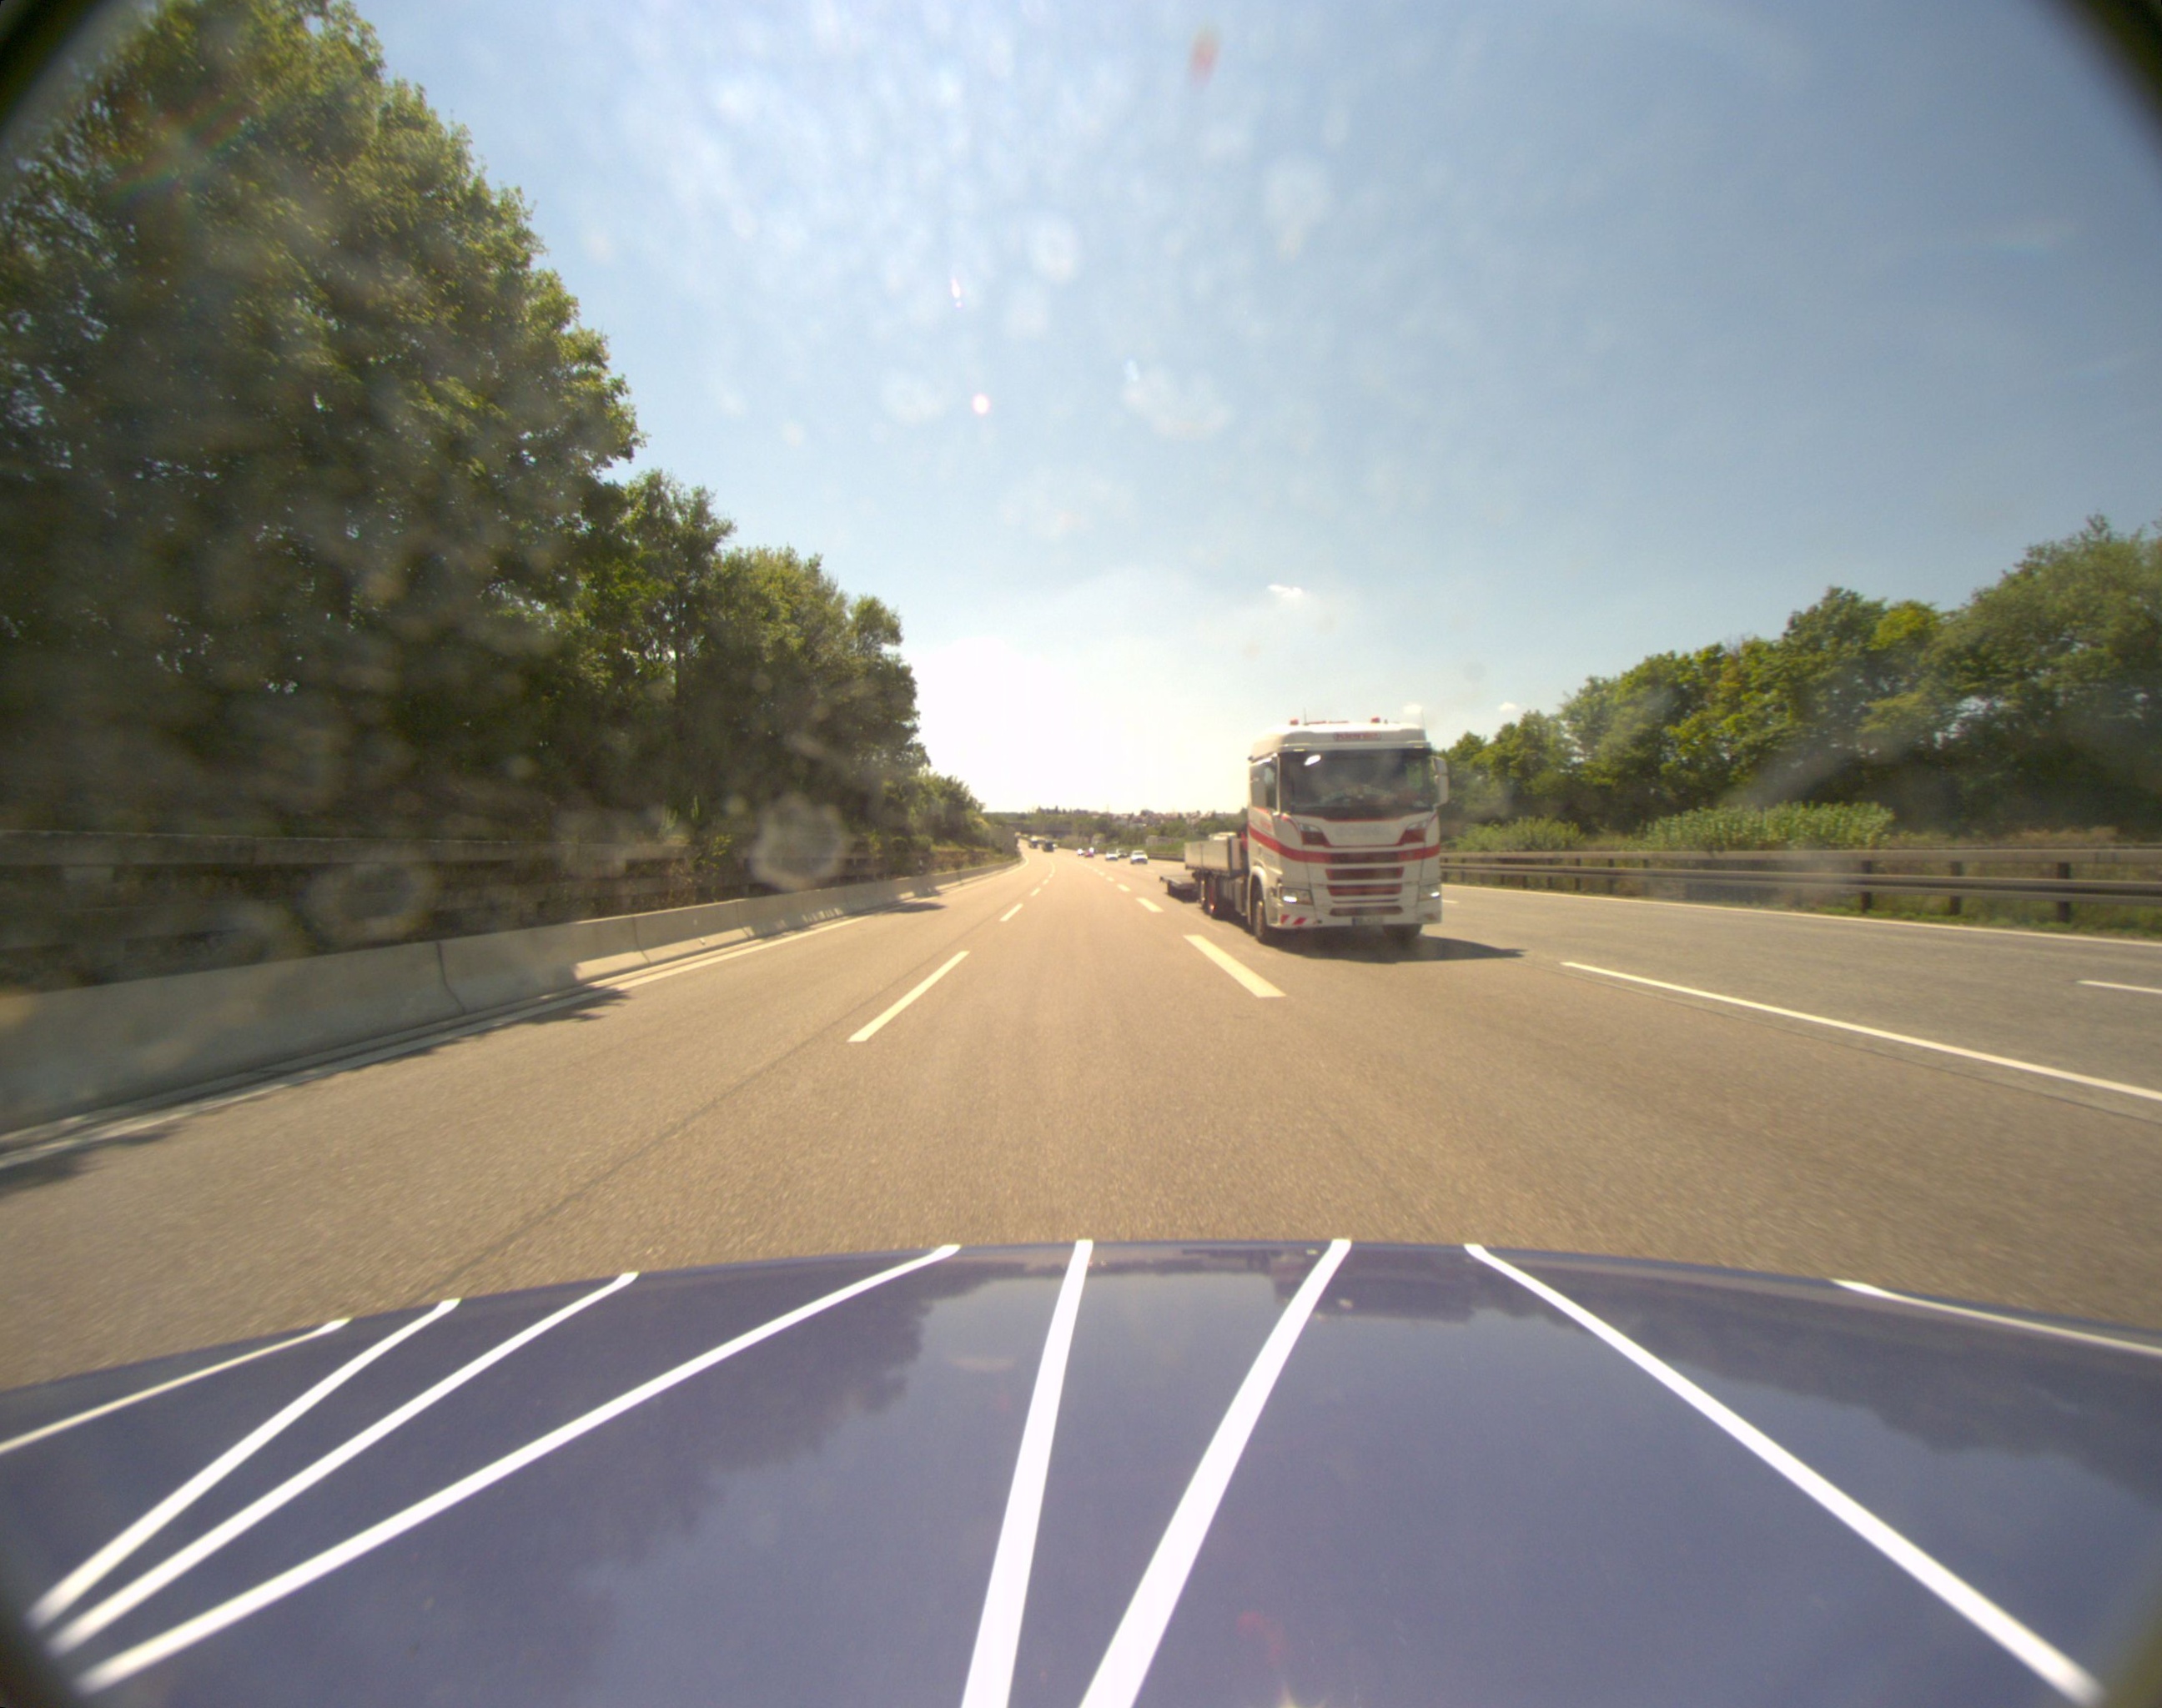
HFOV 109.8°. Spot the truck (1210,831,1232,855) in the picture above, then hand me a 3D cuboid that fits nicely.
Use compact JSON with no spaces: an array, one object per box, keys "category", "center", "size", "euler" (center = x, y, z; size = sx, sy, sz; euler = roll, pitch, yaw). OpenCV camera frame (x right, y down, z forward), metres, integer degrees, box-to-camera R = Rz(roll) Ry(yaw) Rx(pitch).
[{"category":"truck","center":[24.019,-1.864,130.542],"size":[2.702,3.866,5.744],"euler":[-2,1,-1]}]

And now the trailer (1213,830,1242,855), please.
[{"category":"trailer","center":[24.064,-1.916,125.223],"size":[2.697,3.866,9.732],"euler":[-2,0,-1]}]

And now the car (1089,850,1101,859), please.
[{"category":"car","center":[2.930,0.093,157.824],"size":[1.999,1.832,3.998],"euler":[-2,1,-4]}]

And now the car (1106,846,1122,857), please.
[{"category":"car","center":[5.225,-0.385,120.086],"size":[1.788,1.495,4.165],"euler":[-1,3,-9]}]

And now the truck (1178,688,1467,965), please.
[{"category":"truck","center":[4.056,-0.408,15.924],"size":[2.721,3.780,10.671],"euler":[-2,0,1]}]

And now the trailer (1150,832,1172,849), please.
[{"category":"trailer","center":[19.848,-3.295,189.133],"size":[3.401,4.066,13.922],"euler":[-2,1,-2]}]

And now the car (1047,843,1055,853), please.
[{"category":"car","center":[-9.771,-2.016,246.951],"size":[2.116,3.284,6.441],"euler":[-2,1,-4]}]

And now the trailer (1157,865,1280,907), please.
[{"category":"trailer","center":[4.236,0.949,25.110],"size":[2.721,0.929,7.759],"euler":[-2,0,1]}]

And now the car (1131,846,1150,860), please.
[{"category":"car","center":[7.112,-0.135,91.107],"size":[1.883,1.543,3.999],"euler":[-2,0,0]}]

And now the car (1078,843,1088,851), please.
[{"category":"car","center":[0.491,-1.710,183.582],"size":[1.999,1.832,3.998],"euler":[-2,1,-4]}]
